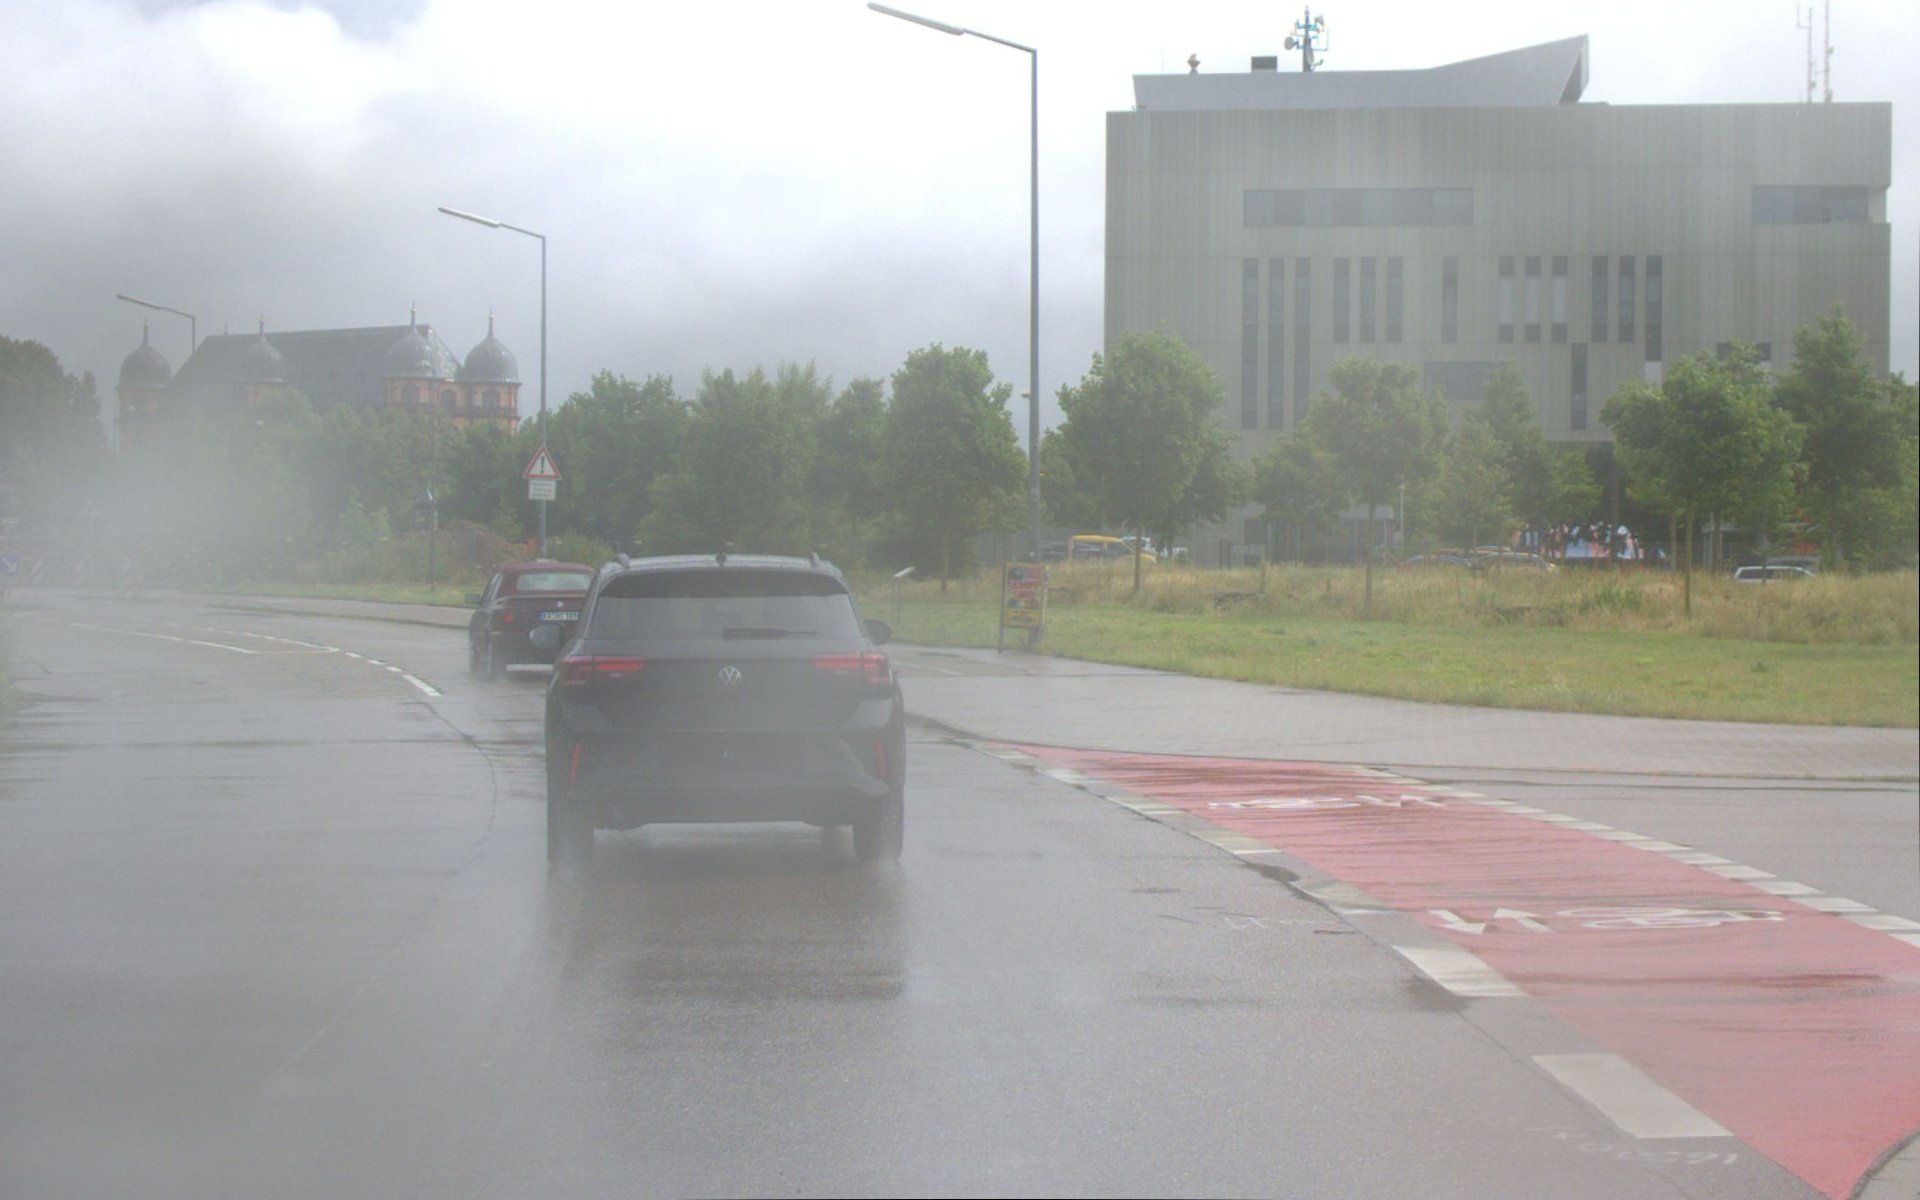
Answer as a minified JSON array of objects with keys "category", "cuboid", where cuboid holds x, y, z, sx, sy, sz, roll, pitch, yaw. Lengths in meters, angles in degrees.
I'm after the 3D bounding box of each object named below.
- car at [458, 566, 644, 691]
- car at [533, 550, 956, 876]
[{"category":"car","cuboid":[-5.212,0.326,43.407,1.841,1.437,4.001,-2,1,-13]},{"category":"car","cuboid":[-1.233,0.507,18.200,1.986,1.515,4.001,0,1,-6]}]
